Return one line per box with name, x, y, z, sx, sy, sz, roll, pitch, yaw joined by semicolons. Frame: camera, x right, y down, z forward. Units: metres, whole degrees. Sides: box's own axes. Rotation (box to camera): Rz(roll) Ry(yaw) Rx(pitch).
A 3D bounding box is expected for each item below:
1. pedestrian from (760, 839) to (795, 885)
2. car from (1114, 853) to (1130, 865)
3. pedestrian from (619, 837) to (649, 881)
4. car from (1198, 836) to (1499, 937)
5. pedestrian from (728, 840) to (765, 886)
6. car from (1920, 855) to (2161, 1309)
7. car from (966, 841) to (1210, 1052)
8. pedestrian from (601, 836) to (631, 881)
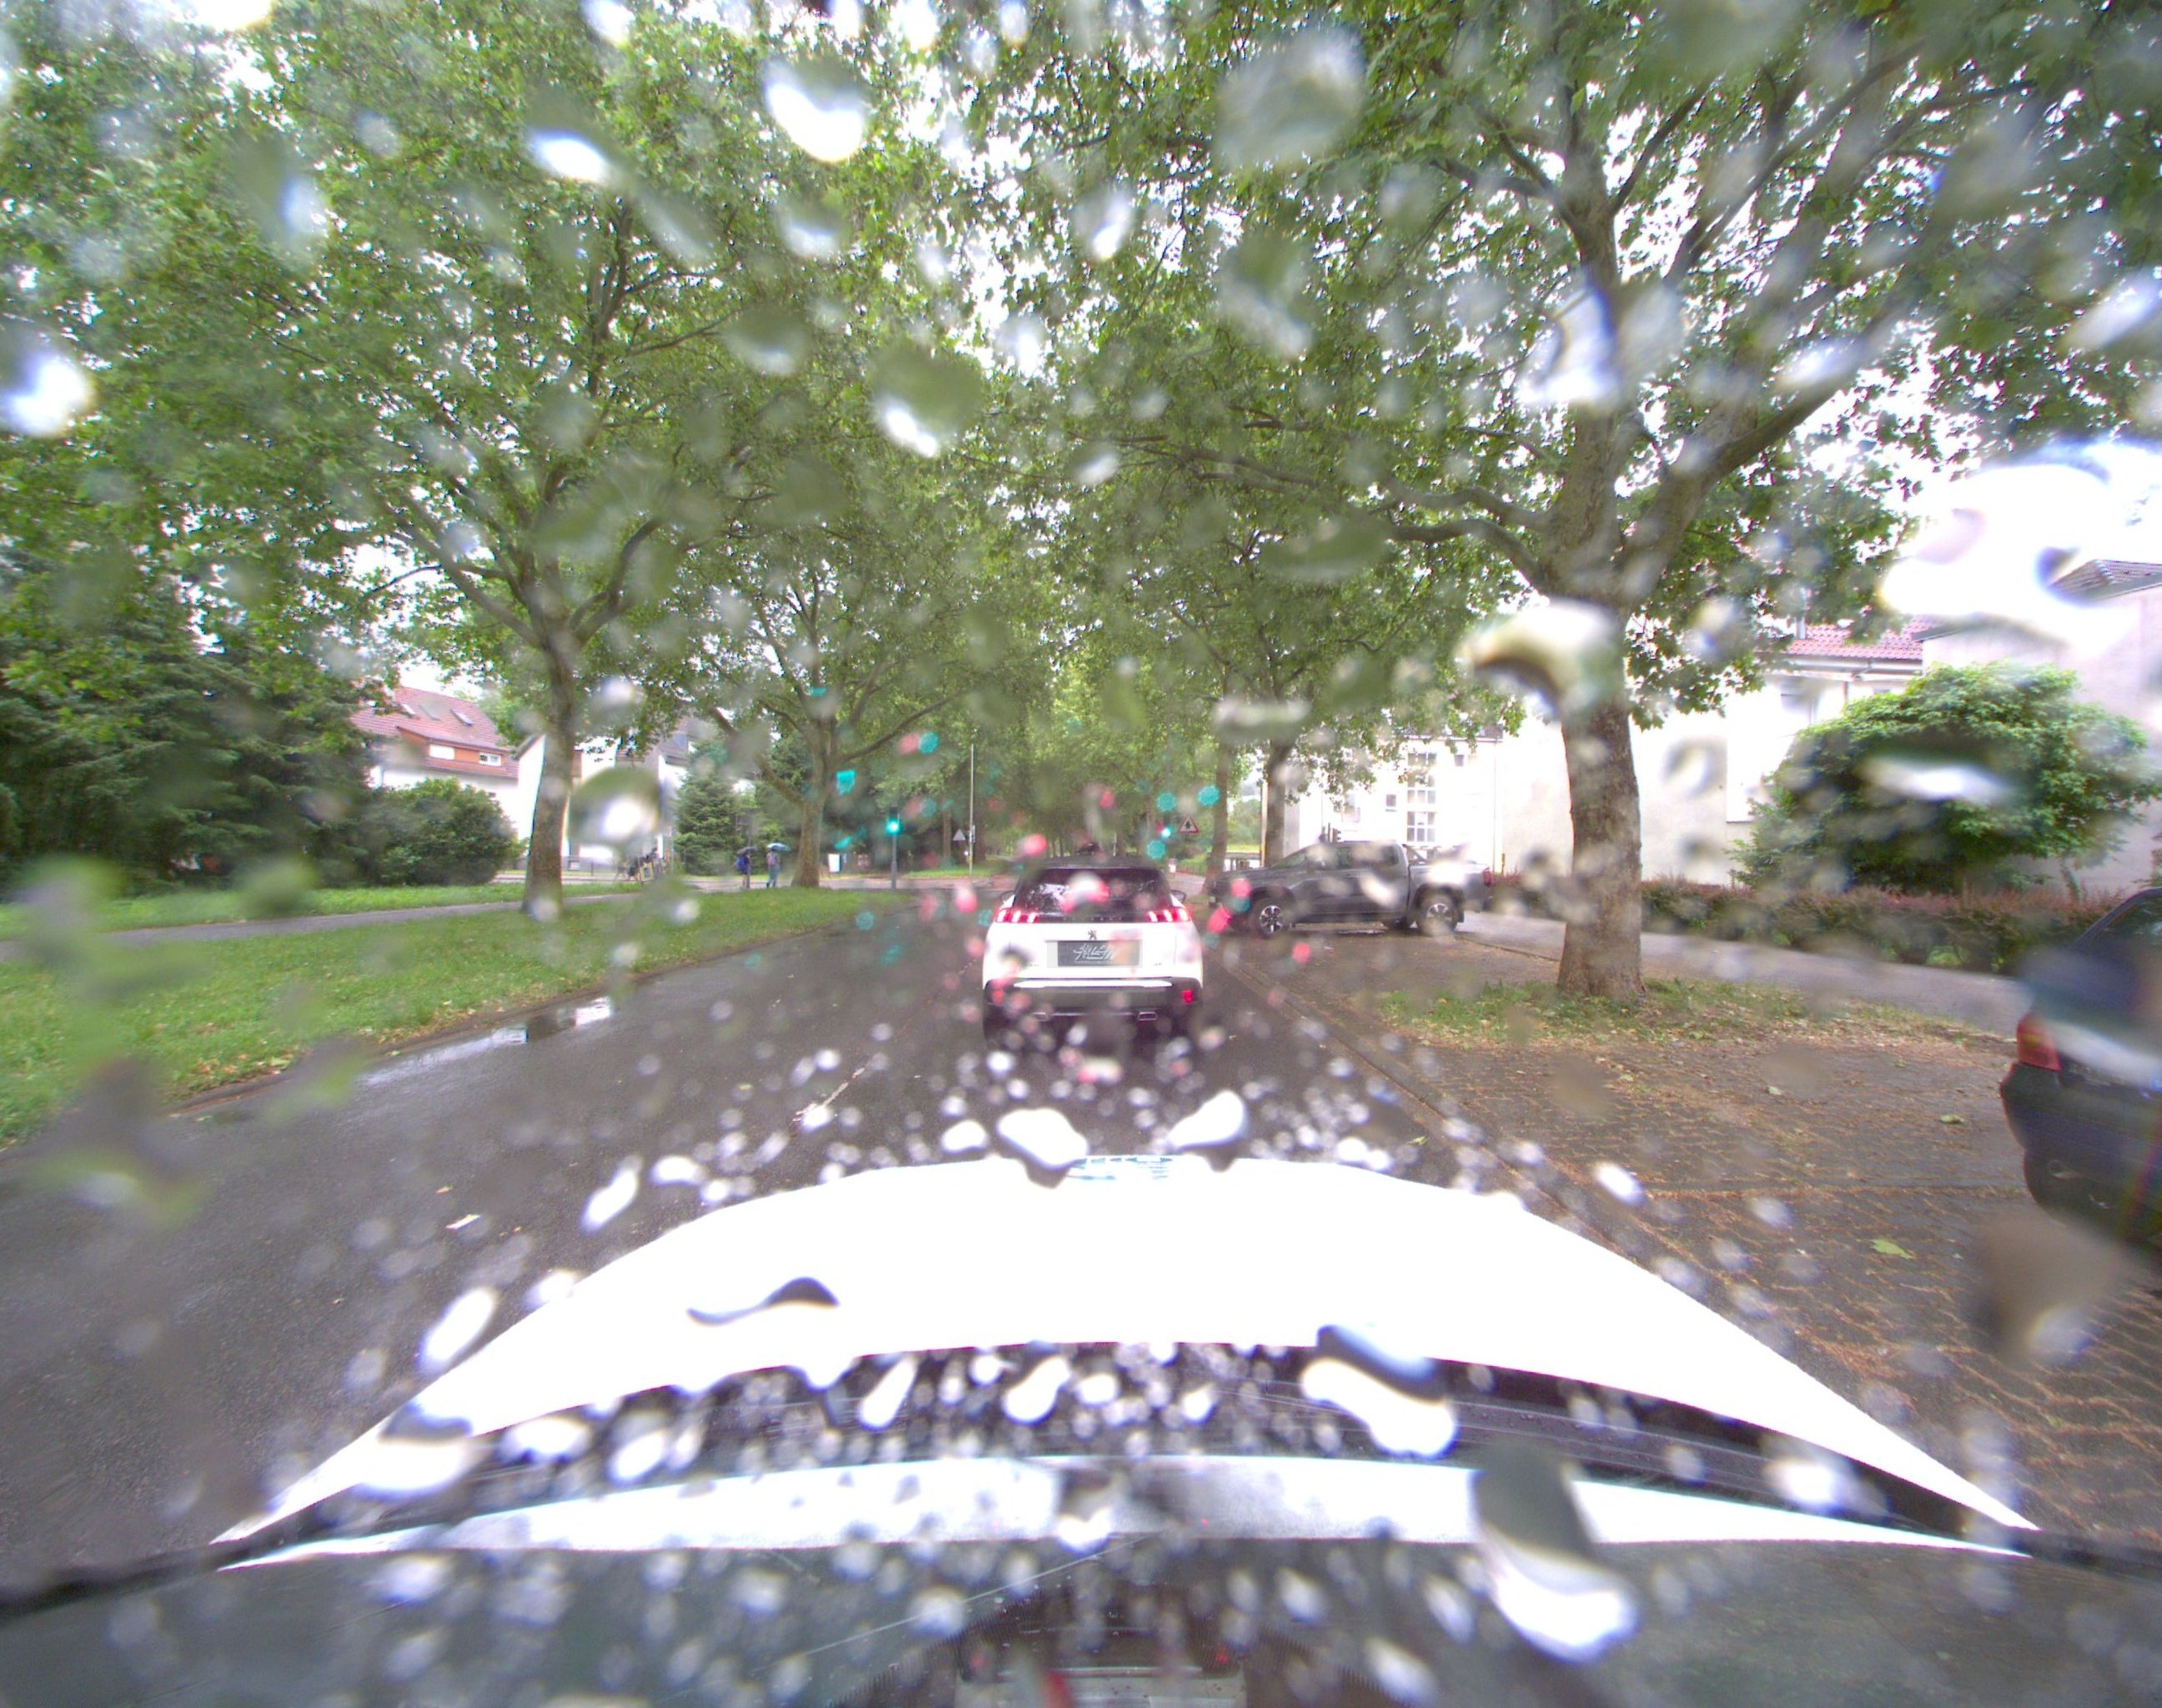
pedestrian;-11.810;0.289;31.681;1.029;1.765;0.838;0;0;1
car;5.645;0.689;111.777;1.901;1.510;3.928;1;0;-2
pedestrian;-18.314;0.199;33.388;0.856;1.744;0.639;1;0;-2
car;5.130;0.592;15.963;5.330;1.807;1.842;0;0;-6
pedestrian;-12.979;0.358;31.630;1.029;1.765;0.879;0;0;1
car;5.175;0.747;2.610;3.344;1.464;1.618;0;0;0
car;0.102;0.669;7.973;1.774;1.536;4.059;0;0;1
pedestrian;-18.443;0.175;32.299;0.818;1.744;0.639;1;0;-2
